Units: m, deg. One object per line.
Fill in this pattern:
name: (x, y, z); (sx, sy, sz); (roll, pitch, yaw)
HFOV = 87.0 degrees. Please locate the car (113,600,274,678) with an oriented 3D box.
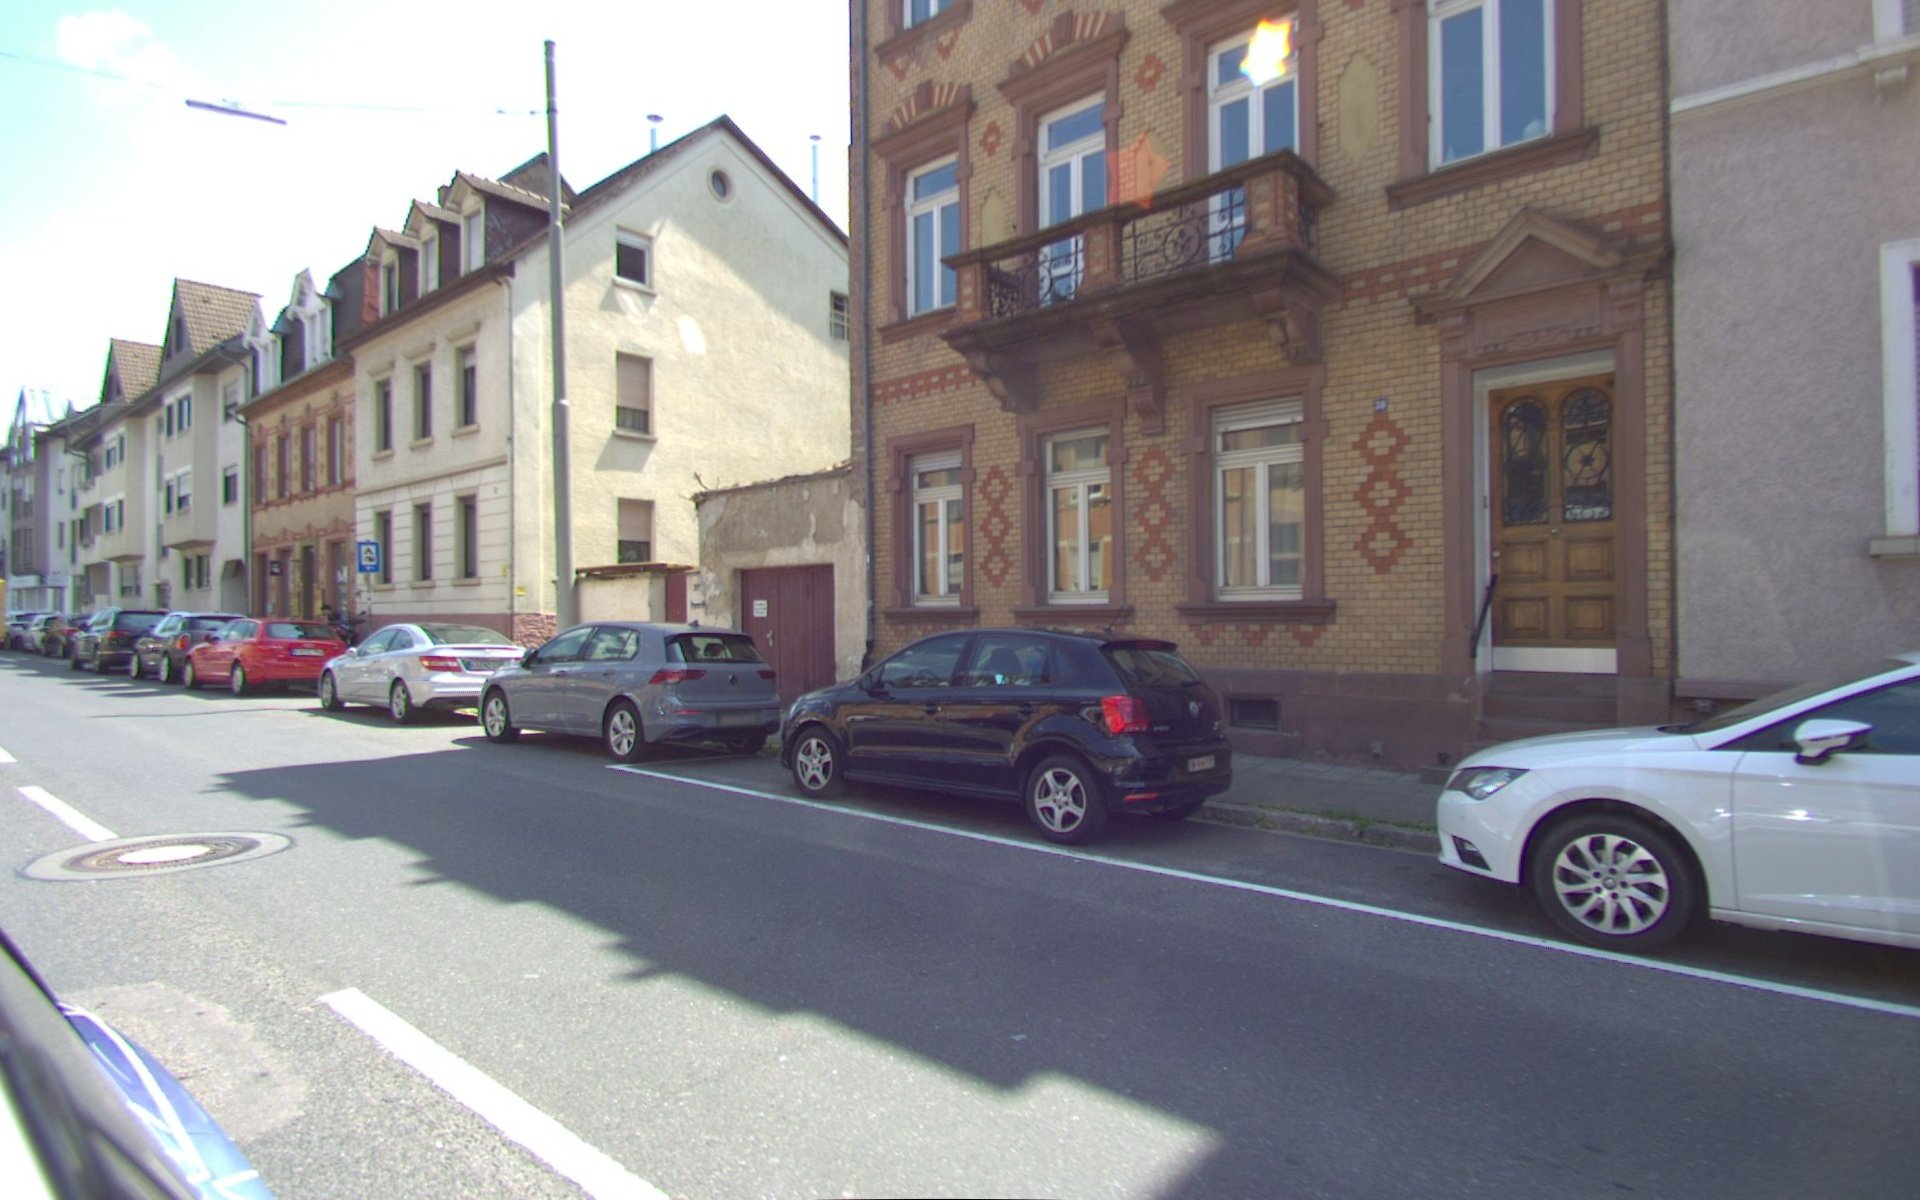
car: (-17.379, 0.857, 22.874); (4.498, 1.609, 1.821); (0, -4, 39)

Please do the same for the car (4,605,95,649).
car: (-34.531, 0.989, 38.358); (4.381, 1.499, 1.822); (0, 2, 38)

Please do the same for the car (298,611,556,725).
car: (-8.193, 0.943, 15.379); (4.498, 1.433, 1.821); (0, -2, 39)

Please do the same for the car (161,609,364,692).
car: (-13.532, 0.930, 19.556); (4.494, 1.433, 1.823); (-1, -3, 36)

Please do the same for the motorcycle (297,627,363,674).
motorcycle: (-15.701, 1.241, 25.207); (1.870, 1.086, 0.837); (-1, 0, 40)

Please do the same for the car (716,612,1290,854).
car: (0.136, 0.874, 8.250); (4.500, 1.433, 1.820); (0, -4, 41)

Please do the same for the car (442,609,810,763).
car: (-3.989, 0.902, 11.740); (4.496, 1.433, 1.822); (0, -5, 38)

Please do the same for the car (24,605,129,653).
car: (-30.622, 0.950, 35.036); (4.495, 1.499, 1.823); (0, 2, 37)

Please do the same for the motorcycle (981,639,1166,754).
motorcycle: (1.175, 0.978, 10.811); (1.936, 1.061, 0.705); (0, 0, 43)

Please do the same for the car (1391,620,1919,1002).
car: (4.479, 0.854, 4.397); (4.496, 1.433, 1.822); (0, -3, 38)

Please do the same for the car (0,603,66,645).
car: (-38.899, 0.945, 41.997); (4.379, 1.607, 1.823); (0, 2, 37)

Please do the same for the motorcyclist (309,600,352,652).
motorcyclist: (-15.685, 0.644, 25.227); (0.711, 1.257, 0.711); (-1, -1, 38)

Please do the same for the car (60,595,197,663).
car: (-21.450, 0.731, 26.044); (4.498, 1.609, 1.821); (0, -3, 39)
